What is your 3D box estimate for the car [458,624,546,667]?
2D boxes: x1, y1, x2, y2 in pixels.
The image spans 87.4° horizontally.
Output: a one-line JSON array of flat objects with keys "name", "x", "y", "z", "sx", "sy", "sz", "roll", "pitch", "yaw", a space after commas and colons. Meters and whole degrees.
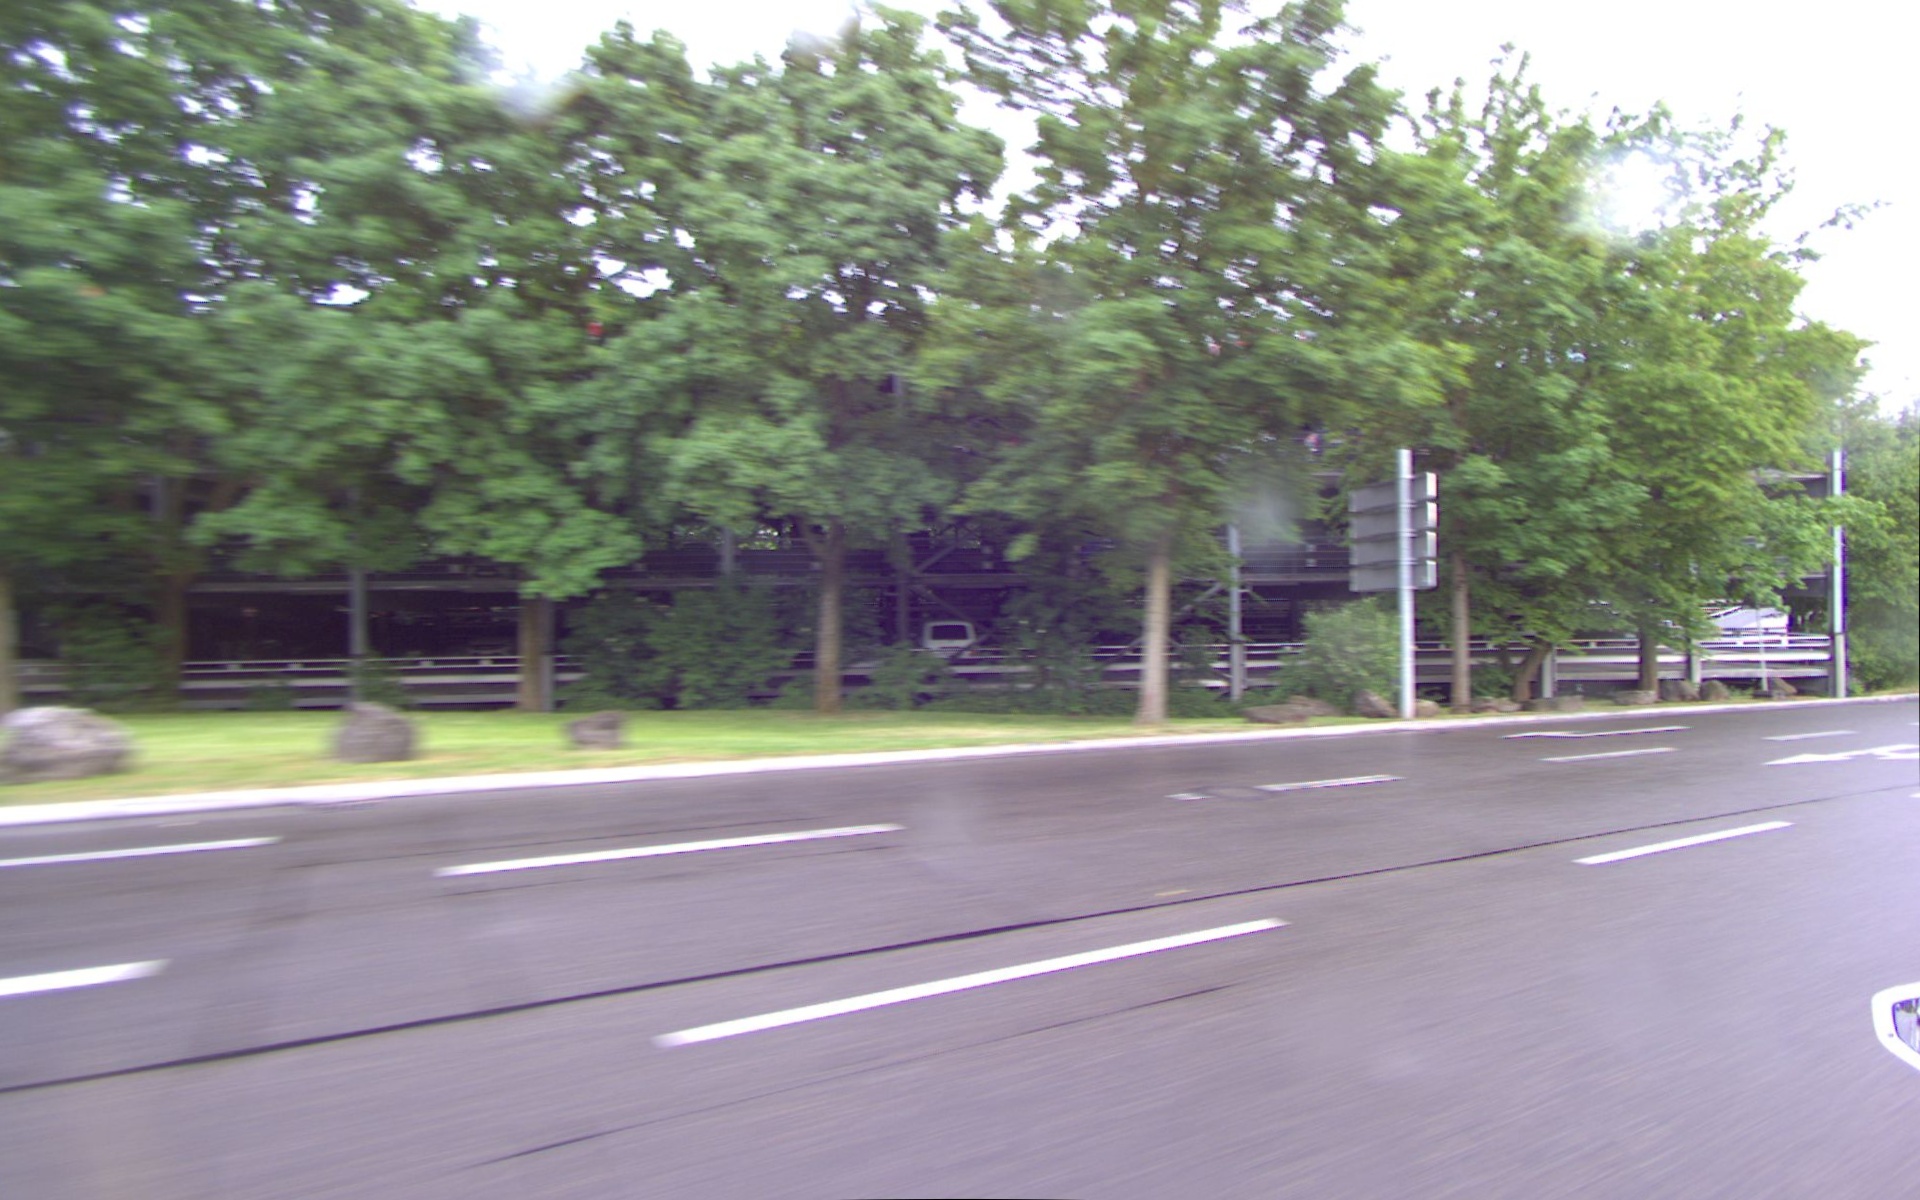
[{"name": "car", "x": -17.279, "y": 1.716, "z": 38.124, "sx": 1.963, "sy": 1.539, "sz": 3.996, "roll": 0, "pitch": -2, "yaw": -8}]

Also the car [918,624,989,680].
[{"name": "car", "x": -0.230, "y": 1.513, "z": 29.652, "sx": 1.961, "sy": 1.539, "sz": 4.000, "roll": 0, "pitch": -2, "yaw": -2}]

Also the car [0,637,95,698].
[{"name": "car", "x": -25.207, "y": 1.734, "z": 26.137, "sx": 1.961, "sy": 1.539, "sz": 4.000, "roll": 0, "pitch": -2, "yaw": -2}]

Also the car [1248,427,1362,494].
[{"name": "car", "x": 10.290, "y": -4.138, "z": 30.289, "sx": 1.961, "sy": 1.539, "sz": 3.999, "roll": 0, "pitch": 1, "yaw": -2}]

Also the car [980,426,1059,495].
[{"name": "car", "x": 1.666, "y": -3.987, "z": 29.264, "sx": 1.961, "sy": 1.539, "sz": 3.999, "roll": 0, "pitch": 1, "yaw": -2}]

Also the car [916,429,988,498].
[{"name": "car", "x": -0.269, "y": -3.932, "z": 29.389, "sx": 1.961, "sy": 1.539, "sz": 3.999, "roll": 0, "pitch": 1, "yaw": -2}]

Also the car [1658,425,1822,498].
[{"name": "car", "x": 24.215, "y": -4.257, "z": 31.396, "sx": 1.961, "sy": 1.539, "sz": 4.000, "roll": 0, "pitch": -2, "yaw": -2}]

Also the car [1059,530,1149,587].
[{"name": "car", "x": 4.106, "y": -1.178, "z": 29.281, "sx": 1.961, "sy": 1.539, "sz": 3.999, "roll": 0, "pitch": 1, "yaw": -2}]

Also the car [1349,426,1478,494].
[{"name": "car", "x": 13.446, "y": -4.127, "z": 30.038, "sx": 1.961, "sy": 1.539, "sz": 3.999, "roll": 0, "pitch": 1, "yaw": -2}]

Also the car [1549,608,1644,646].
[{"name": "car", "x": 27.088, "y": 1.152, "z": 42.894, "sx": 1.557, "sy": 1.539, "sz": 3.470, "roll": 0, "pitch": -1, "yaw": -8}]

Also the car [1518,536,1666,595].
[{"name": "car", "x": 19.359, "y": -1.007, "z": 31.016, "sx": 1.961, "sy": 1.539, "sz": 4.000, "roll": 0, "pitch": -2, "yaw": -2}]

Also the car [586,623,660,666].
[{"name": "car", "x": -12.737, "y": 1.677, "z": 38.203, "sx": 1.963, "sy": 1.539, "sz": 3.996, "roll": 0, "pitch": -2, "yaw": -8}]

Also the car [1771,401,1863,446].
[{"name": "car", "x": 42.472, "y": -8.724, "z": 49.866, "sx": 1.557, "sy": 1.539, "sz": 3.240, "roll": 0, "pitch": -2, "yaw": -8}]

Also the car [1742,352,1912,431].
[{"name": "car", "x": 27.848, "y": -6.652, "z": 32.446, "sx": 1.961, "sy": 1.539, "sz": 4.000, "roll": 0, "pitch": -2, "yaw": -2}]

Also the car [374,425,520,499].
[{"name": "car", "x": -13.769, "y": -3.674, "z": 27.254, "sx": 1.961, "sy": 1.539, "sz": 3.999, "roll": 0, "pitch": 1, "yaw": -2}]

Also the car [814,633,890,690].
[{"name": "car", "x": -3.063, "y": 1.756, "z": 29.232, "sx": 1.961, "sy": 1.539, "sz": 3.999, "roll": 0, "pitch": -2, "yaw": -3}]

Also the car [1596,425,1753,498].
[{"name": "car", "x": 22.087, "y": -4.233, "z": 31.278, "sx": 1.961, "sy": 1.539, "sz": 4.000, "roll": 0, "pitch": -2, "yaw": -2}]

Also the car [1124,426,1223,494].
[{"name": "car", "x": 6.225, "y": -4.075, "z": 29.713, "sx": 1.961, "sy": 1.539, "sz": 3.999, "roll": 0, "pitch": 1, "yaw": -2}]

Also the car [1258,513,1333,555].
[{"name": "car", "x": 15.662, "y": -3.056, "z": 47.172, "sx": 1.962, "sy": 1.539, "sz": 3.999, "roll": 0, "pitch": -2, "yaw": -4}]
